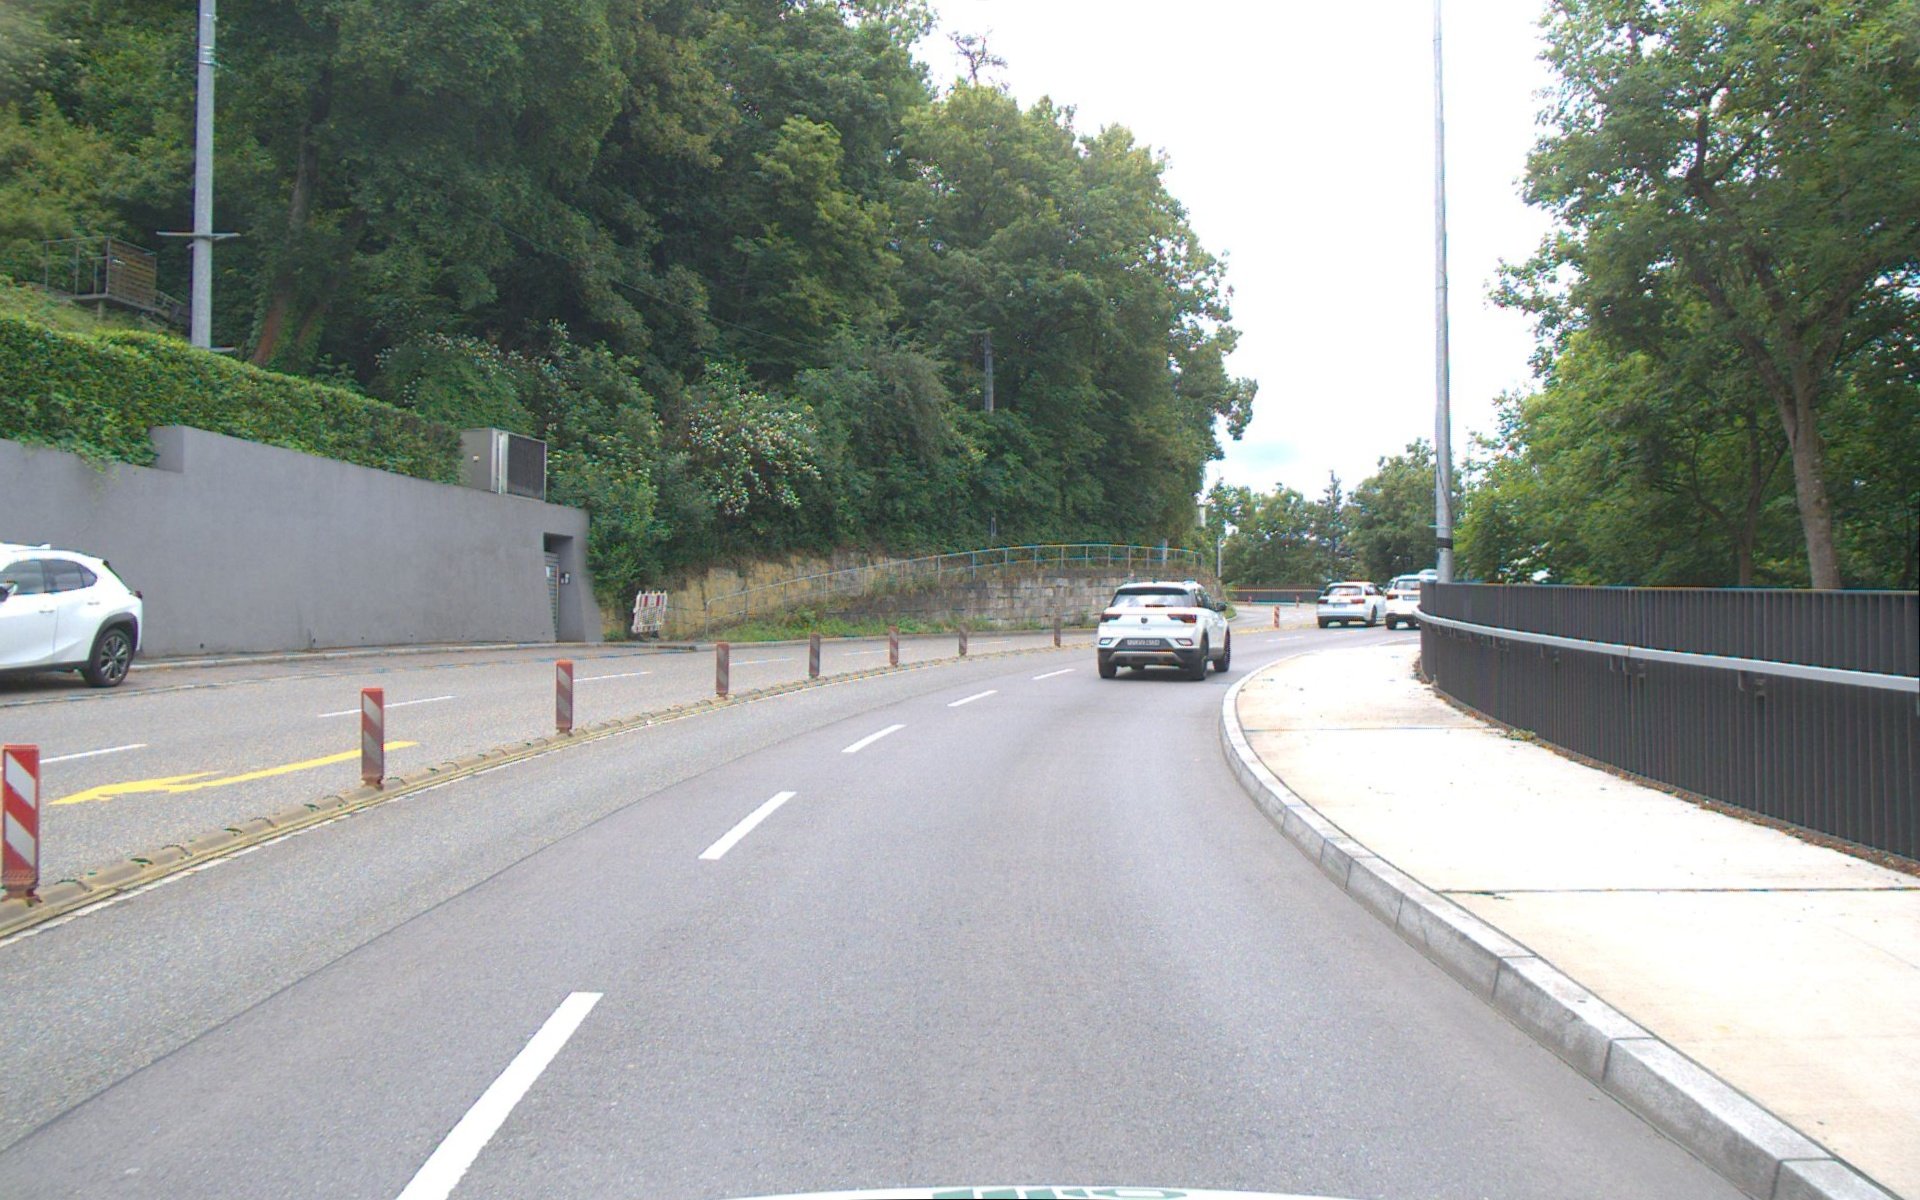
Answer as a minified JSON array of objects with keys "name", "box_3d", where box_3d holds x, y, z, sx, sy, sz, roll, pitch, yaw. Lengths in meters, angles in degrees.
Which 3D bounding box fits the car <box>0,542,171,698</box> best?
[{"name":"car","box_3d":[-10.659,0.174,17.739,1.794,1.600,4.478,2,0,7]}]

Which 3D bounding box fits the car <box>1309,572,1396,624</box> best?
[{"name":"car","box_3d":[13.094,-0.031,55.039,1.870,1.601,3.995,2,0,27]}]

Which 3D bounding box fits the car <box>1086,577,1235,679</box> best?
[{"name":"car","box_3d":[3.461,0.415,27.969,1.828,1.563,3.806,1,1,17]}]

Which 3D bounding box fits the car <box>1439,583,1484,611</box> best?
[{"name":"car","box_3d":[27.704,-0.180,91.452,1.606,1.489,4.002,1,0,5]}]

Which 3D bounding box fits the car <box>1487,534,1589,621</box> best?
[{"name":"car","box_3d":[18.684,-0.722,53.296,2.045,2.567,5.835,-3,-1,29]}]

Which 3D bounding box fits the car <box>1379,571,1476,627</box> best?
[{"name":"car","box_3d":[14.575,-0.014,51.438,1.957,1.614,3.991,2,0,30]}]
